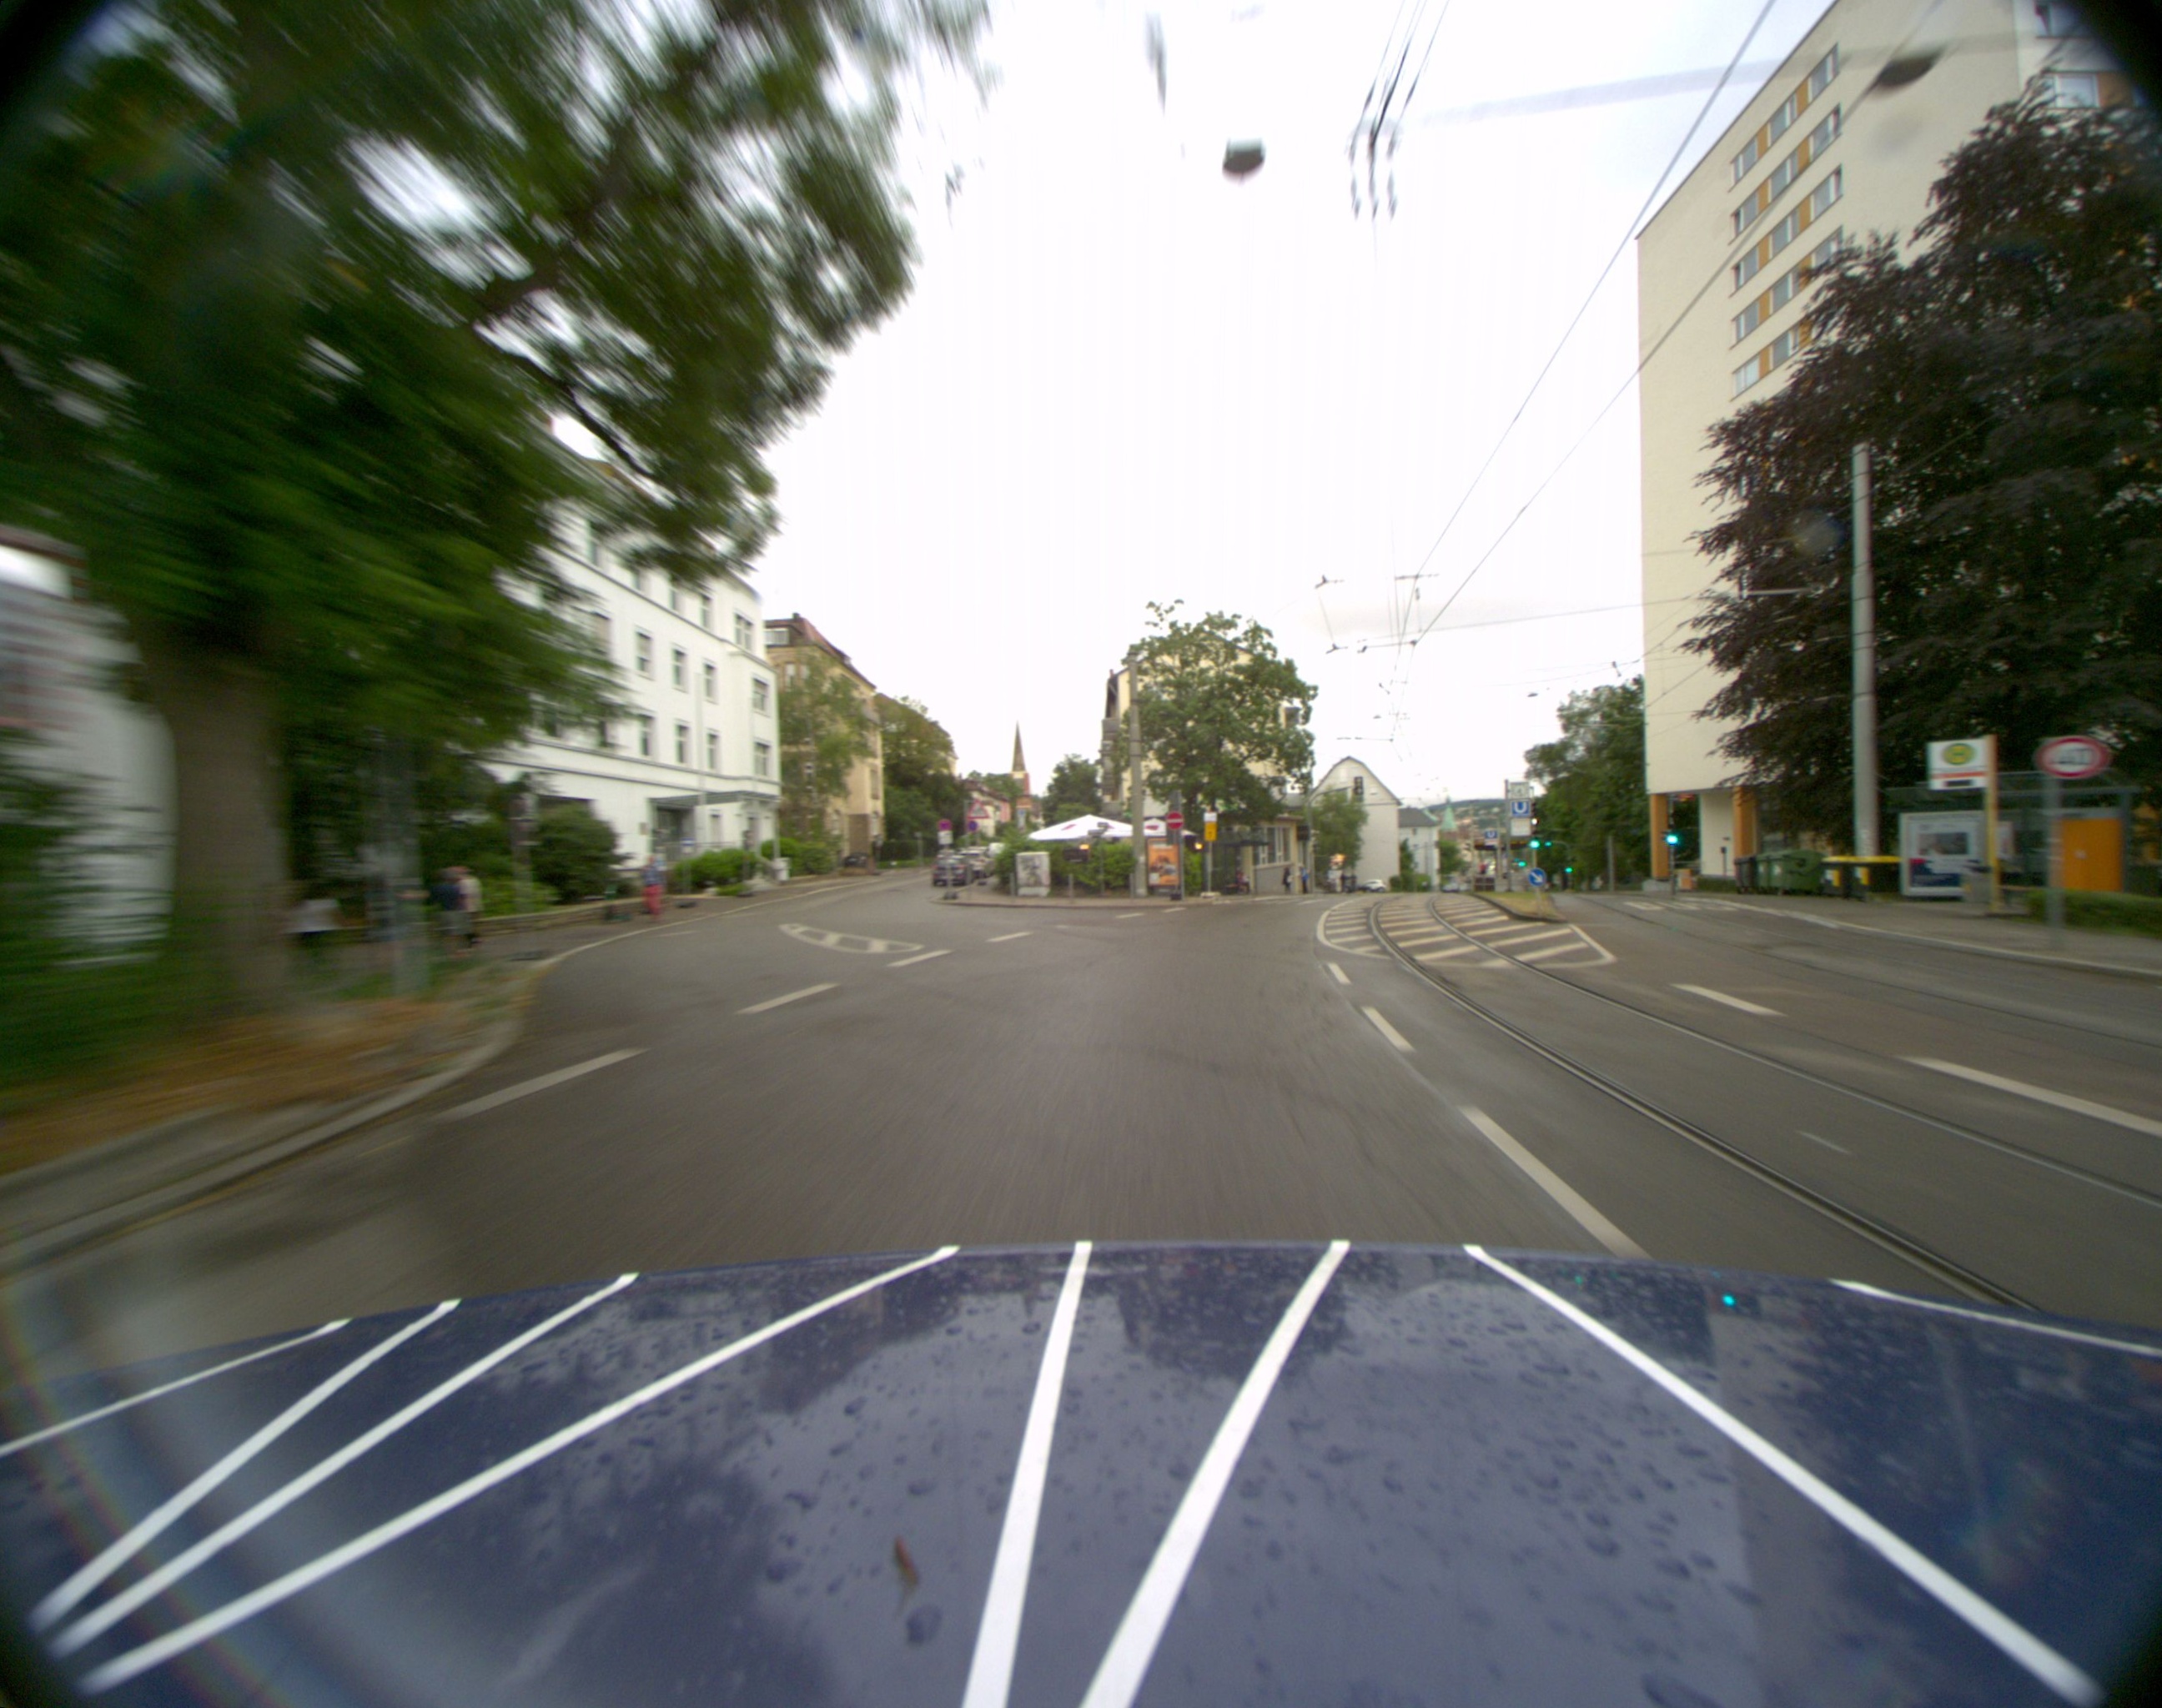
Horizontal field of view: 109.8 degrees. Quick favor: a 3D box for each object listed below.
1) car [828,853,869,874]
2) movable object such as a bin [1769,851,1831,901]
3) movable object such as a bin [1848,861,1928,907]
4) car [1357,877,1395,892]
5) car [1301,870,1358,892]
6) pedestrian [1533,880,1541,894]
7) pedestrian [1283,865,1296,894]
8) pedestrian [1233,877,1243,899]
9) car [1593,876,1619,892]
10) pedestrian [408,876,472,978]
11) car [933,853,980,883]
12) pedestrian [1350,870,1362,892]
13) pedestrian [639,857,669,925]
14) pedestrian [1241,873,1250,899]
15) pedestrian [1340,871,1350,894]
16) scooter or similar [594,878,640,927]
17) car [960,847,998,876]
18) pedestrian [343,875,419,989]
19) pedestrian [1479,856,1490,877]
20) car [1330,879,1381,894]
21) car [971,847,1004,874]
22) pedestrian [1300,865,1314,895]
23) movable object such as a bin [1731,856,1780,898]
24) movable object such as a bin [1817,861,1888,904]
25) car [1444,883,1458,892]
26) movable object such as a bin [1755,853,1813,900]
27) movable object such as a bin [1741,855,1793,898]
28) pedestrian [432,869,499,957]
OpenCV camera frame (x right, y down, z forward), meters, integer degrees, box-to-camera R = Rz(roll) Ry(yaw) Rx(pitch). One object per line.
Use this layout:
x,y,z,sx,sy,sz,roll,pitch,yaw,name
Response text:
-16.505,0.718,54.050,1.598,1.332,3.637,-2,-3,3,car
21.840,0.686,23.123,1.021,1.424,1.430,-3,-3,30,movable object such as a bin
20.684,0.775,19.508,1.021,1.131,1.346,-3,-3,30,movable object such as a bin
34.194,3.530,87.979,3.990,1.459,1.819,-1,4,24,car
21.586,2.318,66.104,4.330,1.664,1.785,2,-2,30,car
52.517,3.856,87.548,0.753,1.583,0.619,-3,-3,31,pedestrian
11.194,1.365,40.697,0.546,1.544,0.560,1,-1,26,pedestrian
7.135,1.540,34.571,0.325,0.989,0.318,2,-1,25,pedestrian
56.003,3.243,81.161,1.747,1.706,4.451,-1,-3,28,car
-10.572,1.189,12.548,0.545,1.619,0.602,-1,-3,-5,pedestrian
-6.321,0.712,38.936,1.692,1.433,3.804,0,0,1,car
21.643,2.162,59.761,0.719,1.703,0.610,1,-2,38,pedestrian
-12.288,1.043,21.880,0.544,1.912,0.915,-1,1,-17,pedestrian
7.537,1.470,34.828,0.325,1.143,0.318,2,-1,25,pedestrian
19.954,2.173,57.478,0.579,1.703,0.615,-3,-3,25,pedestrian
-13.149,1.366,21.565,0.463,1.283,1.102,-2,2,6,scooter or similar
-6.100,0.456,45.776,1.692,1.680,3.804,0,0,1,car
-9.857,1.086,10.711,0.600,1.556,0.546,-3,-3,19,pedestrian
30.780,0.975,57.950,0.671,1.538,0.773,-1,-3,28,pedestrian
30.154,3.595,83.473,4.935,1.428,1.978,-3,-2,29,car
-6.216,0.441,50.676,1.692,1.680,3.804,0,0,1,car
11.974,1.376,40.249,0.588,1.544,0.651,1,-1,28,pedestrian
24.221,0.829,27.320,1.021,1.424,1.307,-3,-3,30,movable object such as a bin
21.542,0.808,21.257,1.021,1.131,1.346,-3,-3,30,movable object such as a bin
58.850,5.364,120.871,1.722,1.349,4.009,-2,-3,30,car
22.787,0.741,24.659,1.021,1.424,1.447,-3,-3,30,movable object such as a bin
23.535,0.786,26.100,1.021,1.424,1.358,-3,-3,30,movable object such as a bin
-12.185,1.157,15.072,0.745,1.689,0.673,1,-2,-10,pedestrian
